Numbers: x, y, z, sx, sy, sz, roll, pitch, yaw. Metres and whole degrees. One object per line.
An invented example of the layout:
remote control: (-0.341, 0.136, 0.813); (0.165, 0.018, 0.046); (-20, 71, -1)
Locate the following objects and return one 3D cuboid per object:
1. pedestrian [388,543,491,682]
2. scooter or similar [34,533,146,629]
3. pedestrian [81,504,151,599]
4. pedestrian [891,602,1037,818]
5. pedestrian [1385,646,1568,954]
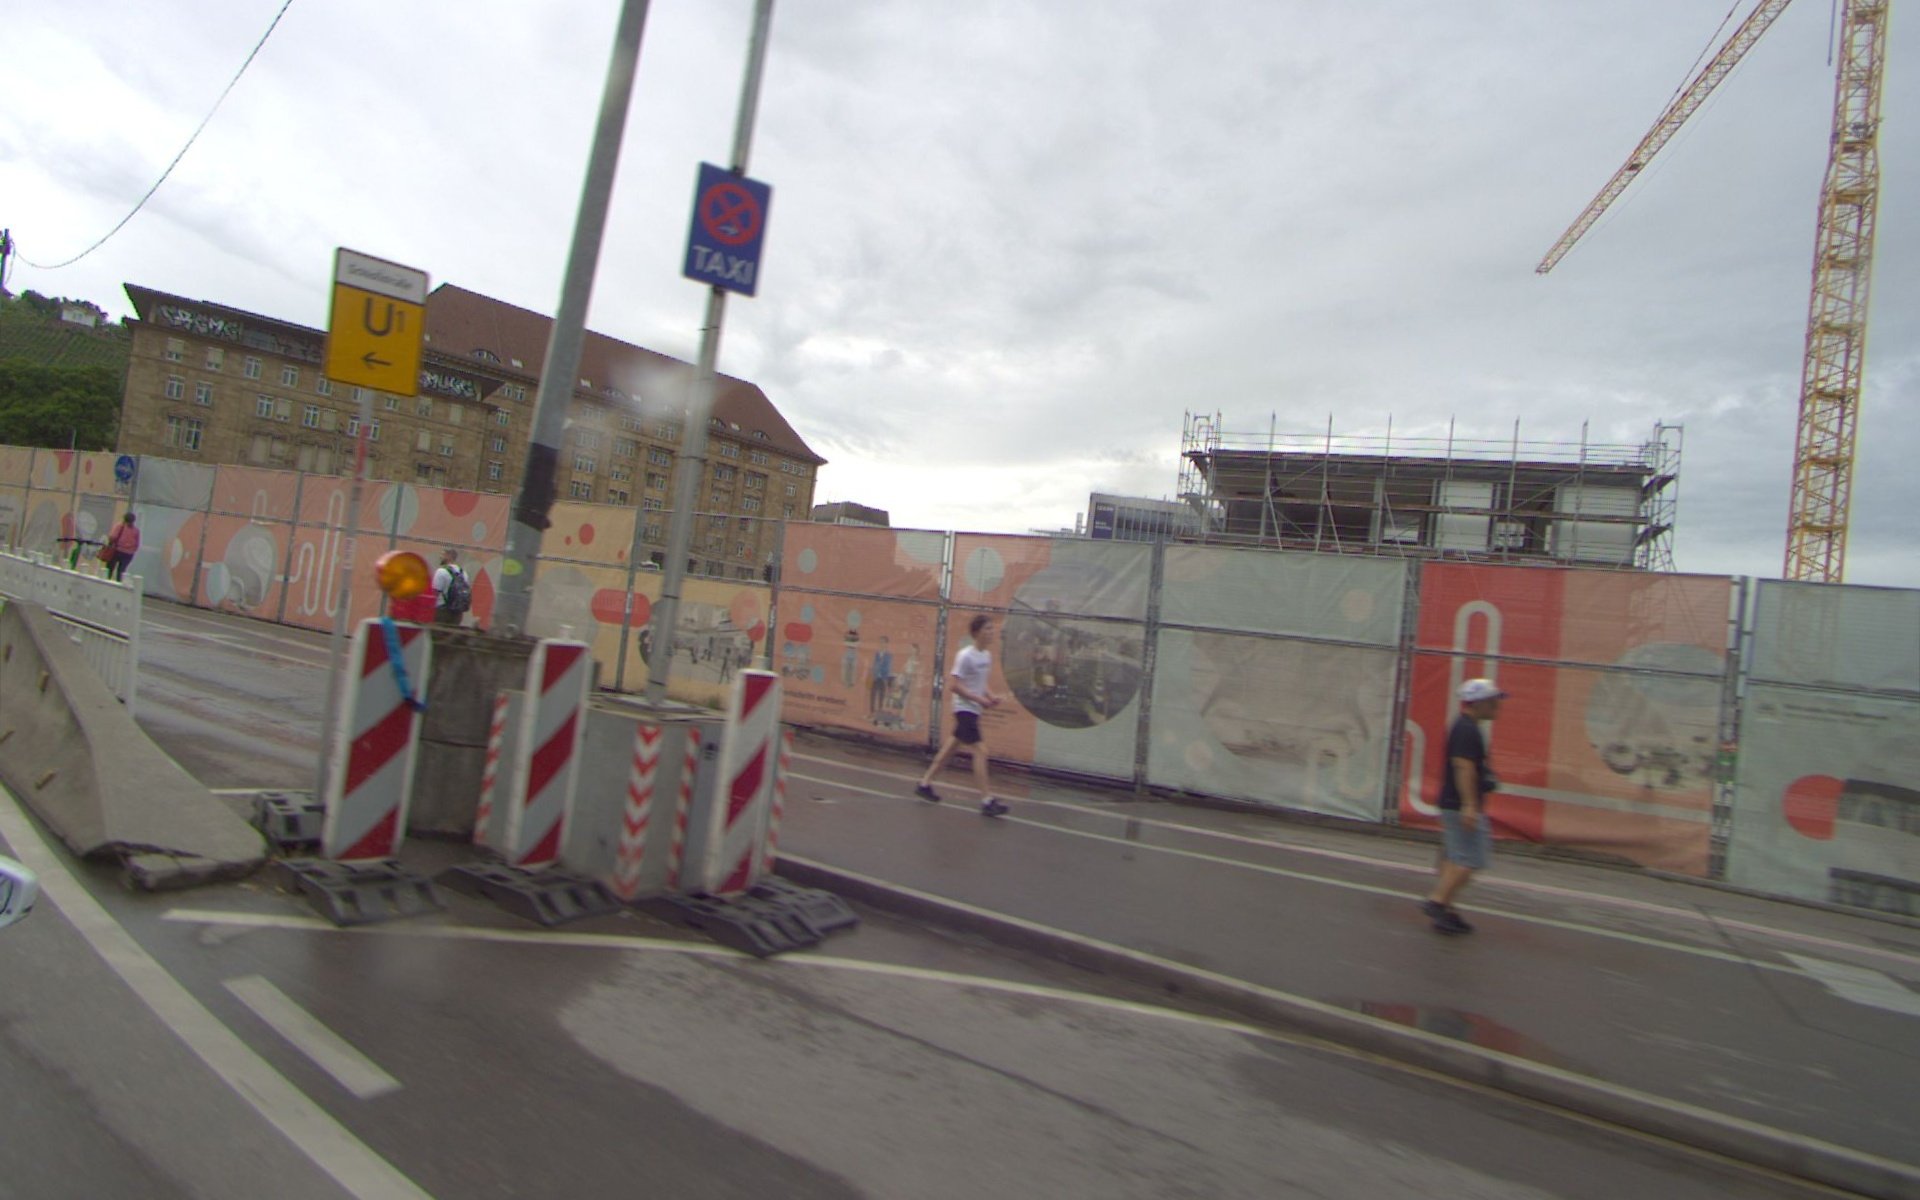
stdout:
pedestrian: (-7.641, 0.183, 14.779); (0.973, 1.887, 0.705); (7, -1, 29)
scooter or similar: (-12.721, -0.281, 14.707); (1.388, 1.196, 0.469); (7, -1, 18)
pedestrian: (-18.107, -1.030, 21.592); (0.697, 1.887, 0.721); (7, -1, 26)
pedestrian: (0.046, 0.972, 9.082); (0.891, 1.760, 0.685); (7, -1, 26)
pedestrian: (3.333, 1.245, 6.540); (0.823, 1.760, 0.644); (7, -1, 27)
